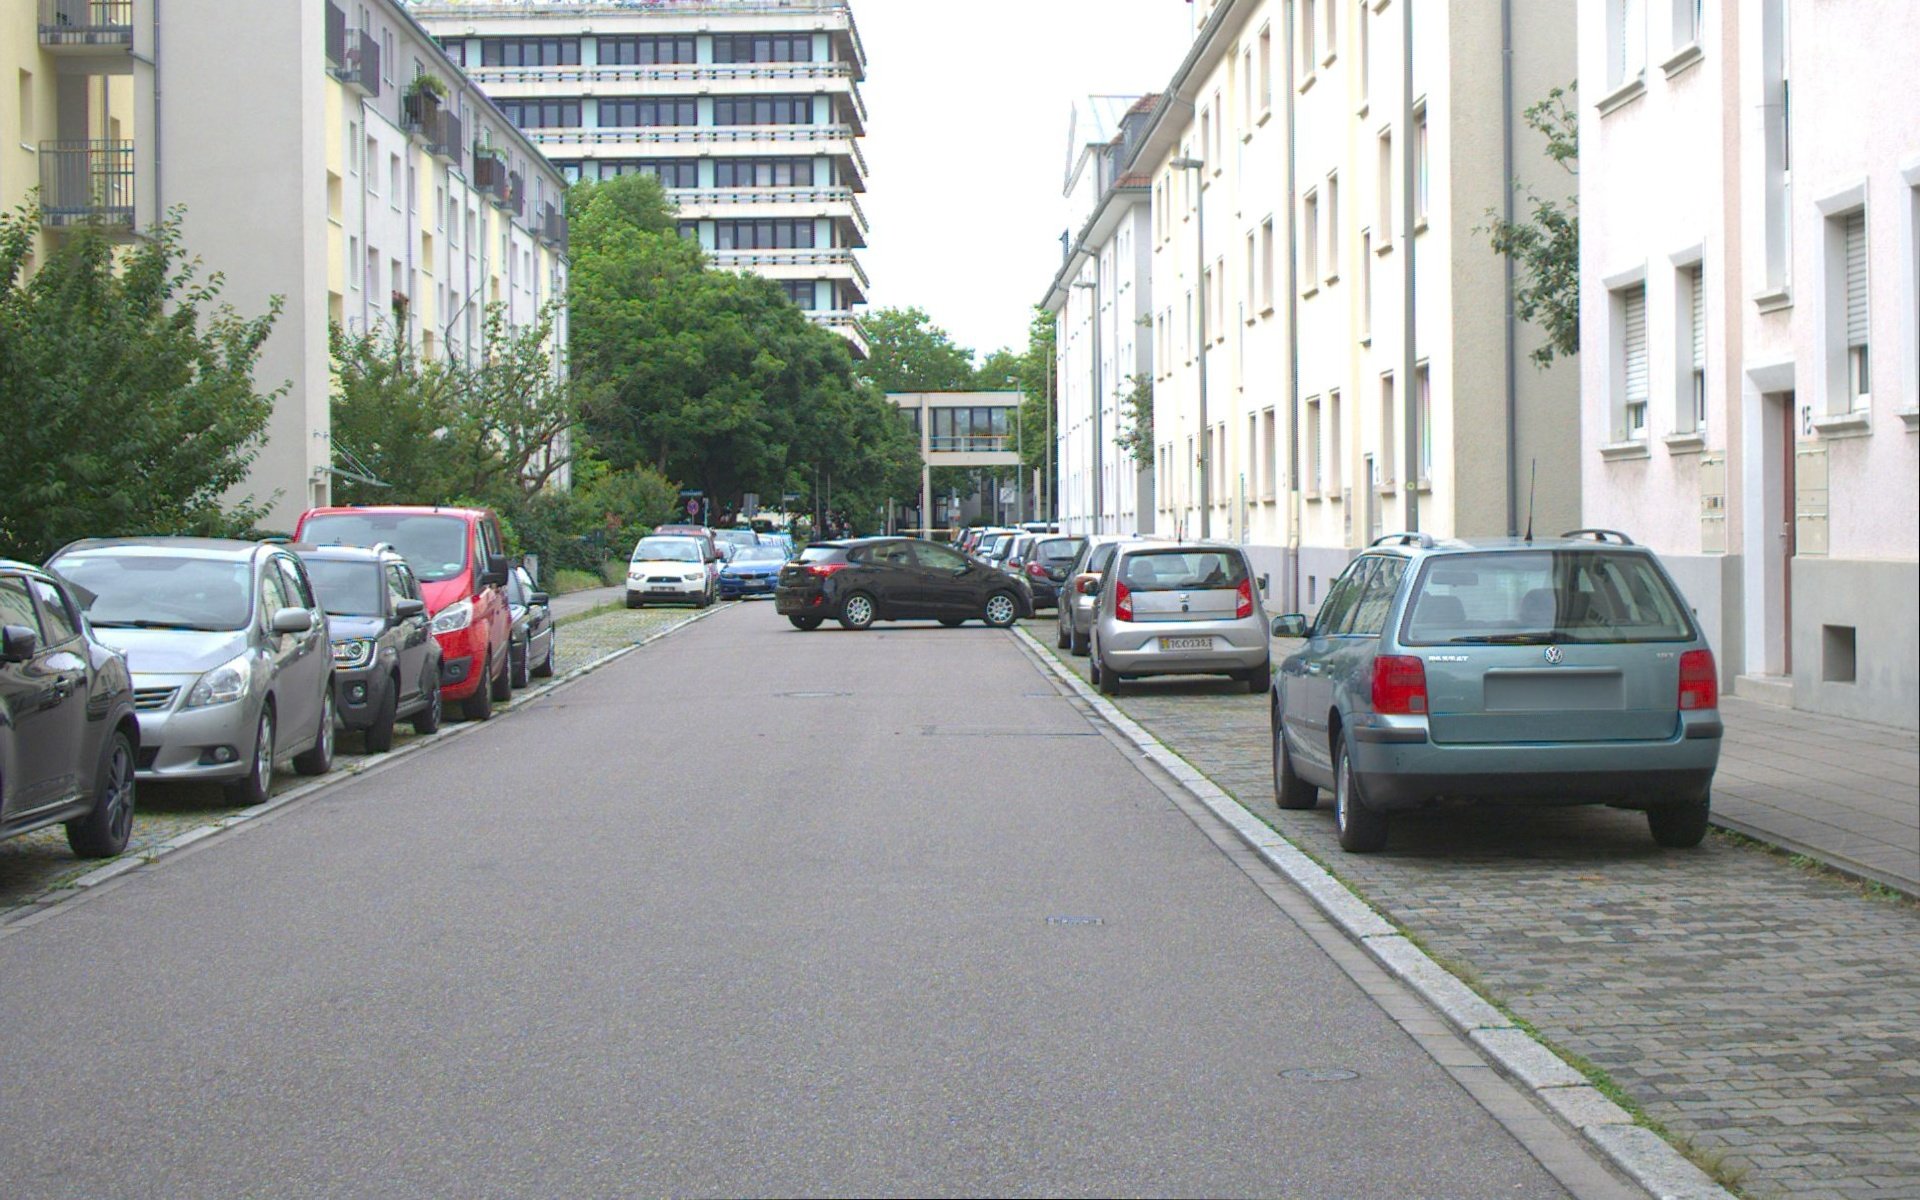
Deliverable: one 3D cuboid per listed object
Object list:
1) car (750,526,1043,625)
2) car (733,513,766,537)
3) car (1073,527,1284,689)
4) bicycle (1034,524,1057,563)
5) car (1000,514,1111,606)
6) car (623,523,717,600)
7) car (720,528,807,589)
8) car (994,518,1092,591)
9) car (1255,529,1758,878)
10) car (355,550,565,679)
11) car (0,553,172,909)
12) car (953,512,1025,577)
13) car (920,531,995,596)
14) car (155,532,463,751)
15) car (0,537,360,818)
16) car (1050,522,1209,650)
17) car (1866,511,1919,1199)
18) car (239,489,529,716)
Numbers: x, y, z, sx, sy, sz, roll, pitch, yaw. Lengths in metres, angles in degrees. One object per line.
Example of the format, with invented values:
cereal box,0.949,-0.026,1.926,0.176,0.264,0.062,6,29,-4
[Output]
car,-0.985,-0.410,54.219,4.219,1.428,1.909,-2,2,-34
car,-11.800,-4.205,192.767,1.665,1.328,3.396,-1,2,-1
car,2.088,0.033,33.853,1.725,1.487,4.061,0,1,-1
bicycle,2.614,-1.734,104.982,0.530,1.171,2.036,-2,1,5
car,1.649,-0.734,60.515,1.725,1.512,4.061,-2,1,-1
car,-6.144,-0.834,73.208,1.720,1.564,3.871,1,1,-1
car,-4.811,-1.038,84.530,1.845,1.446,4.501,0,1,0
car,1.684,-0.960,70.970,1.848,1.445,3.833,-1,1,-1
car,2.579,0.411,17.202,1.725,1.464,4.265,-1,1,-1
car,-5.544,0.121,38.578,1.870,1.319,4.362,0,1,-2
car,-5.009,0.561,16.097,1.653,1.525,3.895,1,1,1
car,0.743,-1.467,89.976,1.820,1.636,4.091,-1,1,0
car,-0.086,-0.884,81.912,1.725,1.471,4.505,0,1,-1
car,-5.072,0.265,27.275,1.720,1.564,4.054,1,1,-1
car,-5.083,0.403,22.118,1.834,1.564,4.863,1,1,-3
car,2.127,-0.220,44.110,1.725,1.512,4.061,-2,1,-1
car,2.733,0.647,5.038,1.783,1.593,3.805,-1,1,0
car,-5.343,-0.032,32.515,2.151,1.947,4.923,1,1,-3
